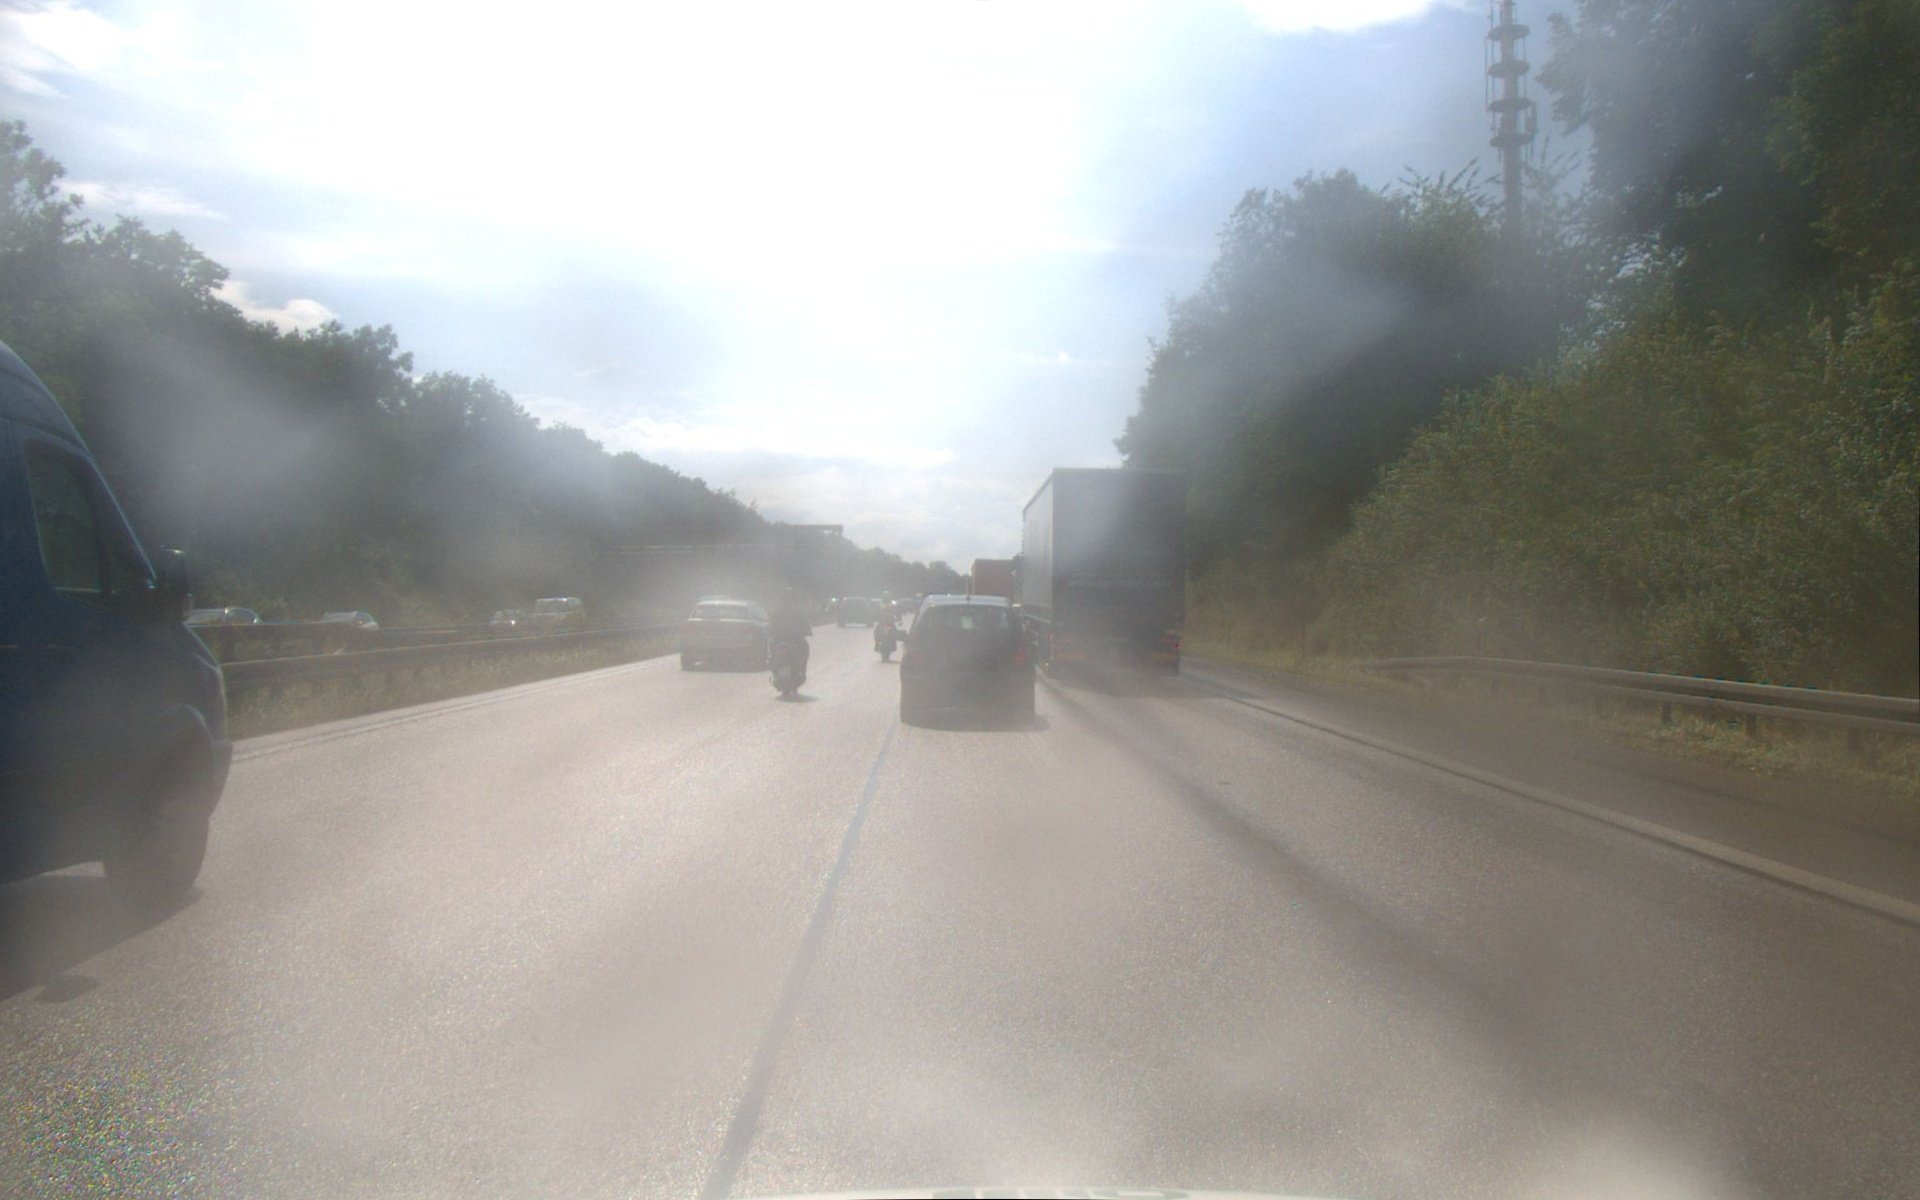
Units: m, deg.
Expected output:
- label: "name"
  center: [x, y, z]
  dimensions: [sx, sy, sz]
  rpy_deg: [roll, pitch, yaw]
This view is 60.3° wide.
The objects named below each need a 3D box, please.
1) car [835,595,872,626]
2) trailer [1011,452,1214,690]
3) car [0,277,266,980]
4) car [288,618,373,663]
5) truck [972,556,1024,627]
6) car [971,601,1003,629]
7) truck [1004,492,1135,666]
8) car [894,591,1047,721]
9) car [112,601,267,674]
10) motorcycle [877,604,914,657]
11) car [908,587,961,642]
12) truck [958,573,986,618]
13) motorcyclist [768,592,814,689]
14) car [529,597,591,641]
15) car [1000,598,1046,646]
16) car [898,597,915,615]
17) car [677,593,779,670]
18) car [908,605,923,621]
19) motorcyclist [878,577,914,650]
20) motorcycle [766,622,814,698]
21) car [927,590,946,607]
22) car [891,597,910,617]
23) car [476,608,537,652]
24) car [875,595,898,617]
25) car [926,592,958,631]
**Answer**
- label: "car"
  center: [-5.972, 0.586, 93.221]
  dimensions: [1.854, 1.656, 4.194]
  rpy_deg: [0, 0, -1]
- label: "trailer"
  center: [3.051, -0.526, 37.828]
  dimensions: [3.025, 4.388, 14.101]
  rpy_deg: [0, 0, -1]
- label: "car"
  center: [-4.661, 0.105, 5.950]
  dimensions: [1.975, 2.695, 5.775]
  rpy_deg: [0, 0, -1]
- label: "car"
  center: [-22.267, 1.418, 58.661]
  dimensions: [1.598, 1.508, 3.785]
  rpy_deg: [0, 0, -1]
- label: "truck"
  center: [2.480, -0.550, 109.997]
  dimensions: [3.137, 4.481, 9.431]
  rpy_deg: [1, 0, 0]
- label: "car"
  center: [1.470, 0.823, 92.330]
  dimensions: [1.641, 1.516, 3.435]
  rpy_deg: [0, 0, -1]
- label: "truck"
  center: [2.879, -0.504, 45.084]
  dimensions: [2.990, 4.401, 5.884]
  rpy_deg: [1, -1, -2]
- label: "car"
  center: [0.085, 0.693, 22.522]
  dimensions: [1.876, 1.592, 4.312]
  rpy_deg: [0, 0, -1]
- label: "car"
  center: [-18.249, 0.844, 39.375]
  dimensions: [1.883, 1.608, 3.999]
  rpy_deg: [-1, 0, -2]
- label: "motorcycle"
  center: [-1.609, 0.741, 41.550]
  dimensions: [0.803, 1.285, 2.117]
  rpy_deg: [1, 0, 1]
- label: "car"
  center: [-0.994, 0.554, 63.805]
  dimensions: [1.953, 2.049, 3.998]
  rpy_deg: [1, 0, -2]
- label: "truck"
  center: [1.279, -0.440, 184.443]
  dimensions: [2.823, 4.770, 12.655]
  rpy_deg: [1, 0, -1]
- label: "motorcyclist"
  center: [-2.629, 0.624, 25.771]
  dimensions: [0.657, 1.467, 1.019]
  rpy_deg: [1, -1, -4]
- label: "car"
  center: [-18.448, 0.841, 76.487]
  dimensions: [1.885, 1.945, 4.288]
  rpy_deg: [0, 0, -1]
- label: "car"
  center: [2.770, 0.945, 73.350]
  dimensions: [1.811, 2.049, 4.086]
  rpy_deg: [1, 0, -1]
- label: "car"
  center: [-6.330, 0.719, 197.275]
  dimensions: [1.953, 2.049, 3.999]
  rpy_deg: [1, 0, -1]
- label: "car"
  center: [-5.102, 0.665, 36.877]
  dimensions: [1.723, 1.622, 4.329]
  rpy_deg: [0, 0, -1]
- label: "car"
  center: [-5.819, 1.671, 216.802]
  dimensions: [1.953, 2.049, 3.999]
  rpy_deg: [1, 0, -1]
- label: "motorcyclist"
  center: [-1.608, 0.348, 41.592]
  dimensions: [0.804, 1.791, 1.390]
  rpy_deg: [1, -1, 1]
- label: "motorcycle"
  center: [-2.633, 0.913, 25.802]
  dimensions: [0.662, 1.106, 1.980]
  rpy_deg: [1, 0, -4]
- label: "car"
  center: [-2.048, -0.131, 143.692]
  dimensions: [1.599, 1.516, 3.435]
  rpy_deg: [0, 0, -1]
- label: "car"
  center: [-6.363, 0.734, 176.959]
  dimensions: [1.953, 2.049, 3.999]
  rpy_deg: [1, 0, -1]
- label: "car"
  center: [-22.256, 1.457, 81.304]
  dimensions: [1.953, 2.049, 3.999]
  rpy_deg: [0, 0, -1]
- label: "car"
  center: [-5.571, 0.475, 126.010]
  dimensions: [1.641, 1.625, 3.435]
  rpy_deg: [0, 0, -1]
- label: "car"
  center: [-0.958, 0.604, 87.585]
  dimensions: [1.641, 1.970, 3.772]
  rpy_deg: [0, 0, -1]
